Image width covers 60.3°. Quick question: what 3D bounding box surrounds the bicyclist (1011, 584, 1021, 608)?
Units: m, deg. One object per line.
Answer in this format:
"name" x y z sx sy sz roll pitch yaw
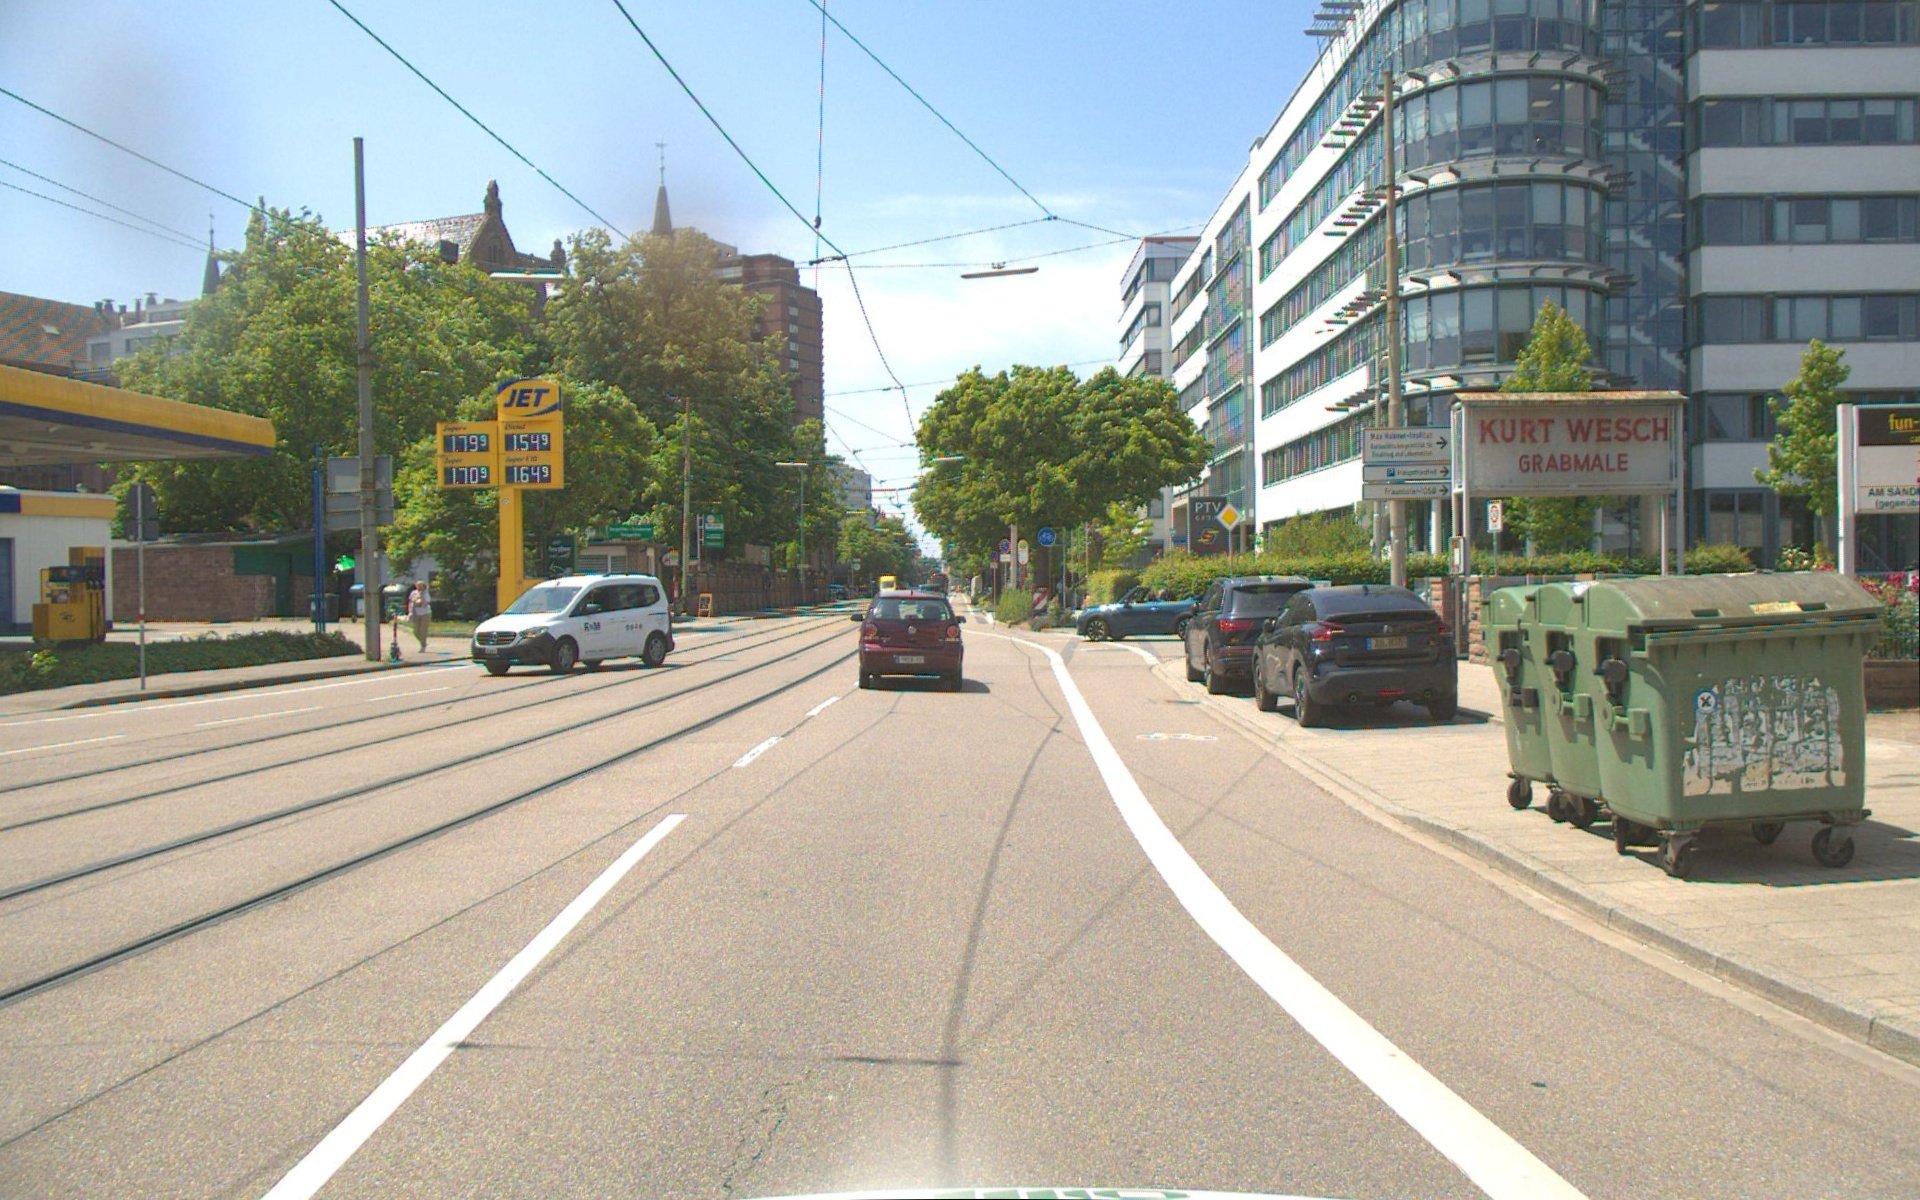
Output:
"bicyclist" 4.468 -0.326 132.553 0.682 1.831 0.888 -2 -1 3

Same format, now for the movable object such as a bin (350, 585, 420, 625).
"movable object such as a bin" -22.000 0.175 63.350 1.490 1.457 2.098 1 1 24

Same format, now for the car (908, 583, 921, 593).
"car" -6.950 -1.806 253.085 1.734 1.542 4.000 -1 0 0

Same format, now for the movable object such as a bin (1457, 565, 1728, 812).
"movable object such as a bin" 4.146 0.547 10.939 1.297 1.480 1.057 -3 0 -3

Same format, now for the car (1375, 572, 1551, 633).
"car" 12.995 0.050 42.904 4.061 1.485 1.819 -1 0 4

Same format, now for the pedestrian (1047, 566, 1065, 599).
"pedestrian" 5.493 -0.983 94.617 0.671 1.828 0.667 -2 0 -31

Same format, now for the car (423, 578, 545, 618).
"car" -18.897 -0.104 65.812 1.899 1.514 4.429 1 1 39

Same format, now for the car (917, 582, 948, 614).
"car" -1.813 -0.143 108.659 1.953 2.049 3.999 1 1 -2

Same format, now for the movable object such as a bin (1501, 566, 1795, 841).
"movable object such as a bin" 4.044 0.574 9.828 1.222 1.480 1.057 -3 0 -3

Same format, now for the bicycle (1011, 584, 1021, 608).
"bicycle" 4.471 -0.316 132.552 0.675 1.816 1.811 -2 0 3

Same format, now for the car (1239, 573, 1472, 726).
"car" 4.656 0.534 20.135 1.736 1.575 4.468 -3 0 0

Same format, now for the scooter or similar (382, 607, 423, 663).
"scooter or similar" -12.562 0.774 37.296 0.508 1.221 1.376 0 1 -2

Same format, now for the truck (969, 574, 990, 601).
"truck" 1.942 -1.247 166.543 1.953 2.708 4.875 1 1 0

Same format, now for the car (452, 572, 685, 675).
"car" -7.462 0.388 32.013 1.954 1.831 4.549 0 1 26

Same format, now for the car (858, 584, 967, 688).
"car" -0.815 0.516 26.408 1.587 1.512 3.997 0 1 -4

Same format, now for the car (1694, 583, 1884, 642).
"car" 21.522 0.304 43.016 4.064 1.433 1.767 -1 0 -2

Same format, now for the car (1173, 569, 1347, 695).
"car" 4.625 0.430 26.228 1.884 1.722 5.083 -3 1 1

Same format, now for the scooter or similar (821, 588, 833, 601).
"scooter or similar" -12.860 -0.527 159.773 1.073 1.175 0.524 0 0 -21

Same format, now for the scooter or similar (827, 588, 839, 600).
"scooter or similar" -12.570 -0.583 163.089 1.073 1.175 0.524 0 0 -21

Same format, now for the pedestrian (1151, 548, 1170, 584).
"pedestrian" 10.104 -1.692 83.214 0.855 1.745 1.090 -2 0 9

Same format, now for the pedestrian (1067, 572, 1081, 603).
"pedestrian" 6.513 -0.689 94.306 0.531 1.745 0.560 -2 0 -29

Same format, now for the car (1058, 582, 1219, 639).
"car" 4.659 0.272 43.186 3.835 1.396 1.702 -1 0 24

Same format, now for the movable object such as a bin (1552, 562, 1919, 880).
"movable object such as a bin" 4.040 0.585 8.677 1.364 1.480 1.138 -3 0 -3

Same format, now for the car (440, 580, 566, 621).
"car" -17.632 -0.006 63.974 1.899 1.514 4.429 1 1 39

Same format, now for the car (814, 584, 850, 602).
"car" -14.700 -0.785 189.834 3.903 2.049 2.001 -1 0 4

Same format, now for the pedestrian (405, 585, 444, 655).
"pedestrian" -13.318 0.492 41.156 0.611 1.720 0.723 -1 0 13

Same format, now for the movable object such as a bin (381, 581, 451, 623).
"movable object such as a bin" -20.611 0.066 62.682 1.490 1.535 2.098 1 1 24

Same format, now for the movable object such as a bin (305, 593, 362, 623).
"movable object such as a bin" -24.330 0.304 64.286 1.376 1.157 1.563 1 1 24

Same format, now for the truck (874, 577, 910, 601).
"truck" -8.352 -1.389 205.070 2.319 2.835 7.325 -1 0 15
